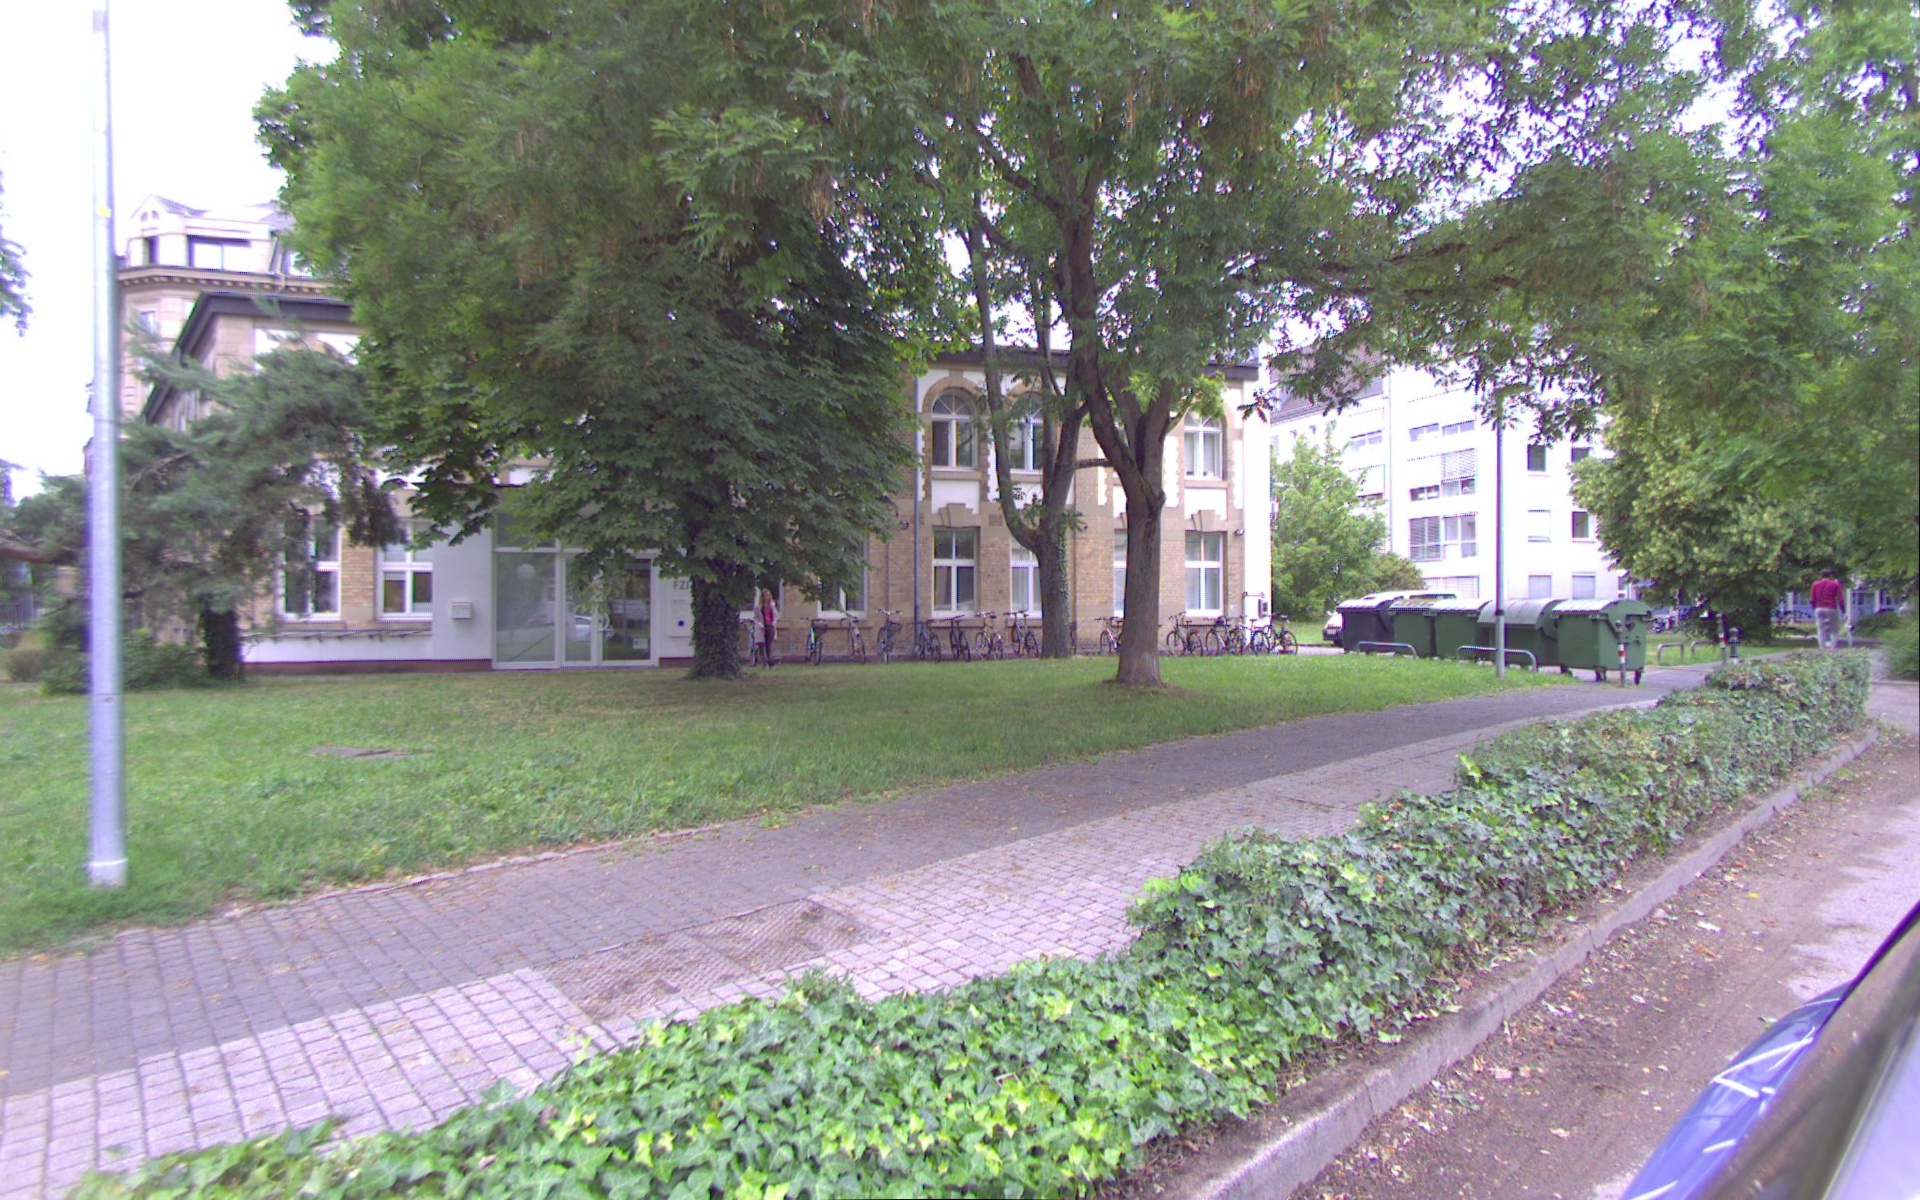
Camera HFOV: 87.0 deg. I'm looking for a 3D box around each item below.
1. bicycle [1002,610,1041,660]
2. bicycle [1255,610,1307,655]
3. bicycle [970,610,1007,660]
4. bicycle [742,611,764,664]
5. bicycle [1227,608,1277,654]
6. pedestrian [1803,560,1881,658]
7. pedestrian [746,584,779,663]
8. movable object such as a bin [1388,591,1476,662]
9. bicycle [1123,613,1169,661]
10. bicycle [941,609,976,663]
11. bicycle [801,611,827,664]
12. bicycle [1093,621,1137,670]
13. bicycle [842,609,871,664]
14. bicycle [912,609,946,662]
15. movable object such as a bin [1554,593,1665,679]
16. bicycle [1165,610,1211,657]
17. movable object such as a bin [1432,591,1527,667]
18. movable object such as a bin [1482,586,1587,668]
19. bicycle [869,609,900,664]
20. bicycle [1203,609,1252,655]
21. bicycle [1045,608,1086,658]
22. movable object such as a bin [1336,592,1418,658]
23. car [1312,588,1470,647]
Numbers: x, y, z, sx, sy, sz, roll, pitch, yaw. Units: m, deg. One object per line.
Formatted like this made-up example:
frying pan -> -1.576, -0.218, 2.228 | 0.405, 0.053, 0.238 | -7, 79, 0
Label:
bicycle -> 1.458, 0.821, 24.315 | 0.451, 1.129, 1.748 | 0, 0, -13
bicycle -> 8.303, 0.822, 26.238 | 0.451, 1.129, 1.748 | 0, 0, -14
bicycle -> 0.666, 0.813, 24.155 | 0.451, 1.129, 1.748 | 0, 0, -13
bicycle -> -4.642, 0.824, 22.647 | 0.451, 1.129, 1.748 | 0, 0, -13
bicycle -> 7.464, 0.778, 25.941 | 0.451, 1.129, 1.748 | 0, 0, -13
pedestrian -> 19.402, 0.196, 22.269 | 1.176, 2.090, 0.796 | 0, -1, -19
pedestrian -> -4.051, 0.474, 20.769 | 0.614, 1.607, 0.605 | 0, -1, -15
movable object such as a bin -> 10.225, 0.555, 21.968 | 1.085, 1.469, 1.329 | 0, -1, -19
bicycle -> 4.596, 0.893, 25.118 | 0.451, 1.129, 1.748 | 0, 0, -13
bicycle -> -0.050, 0.828, 23.733 | 0.451, 1.128, 1.749 | 0, 2, -13
bicycle -> -3.304, 0.818, 22.853 | 0.451, 1.129, 1.748 | 0, 0, -13
bicycle -> 3.807, 1.095, 24.943 | 0.451, 1.129, 1.748 | 0, 0, -13
bicycle -> -2.375, 0.812, 23.186 | 0.451, 1.128, 1.748 | 0, 2, -13
bicycle -> -0.739, 0.812, 23.649 | 0.451, 1.128, 1.748 | 0, 1, -13
movable object such as a bin -> 11.327, 0.603, 17.691 | 1.050, 1.452, 1.276 | 0, 0, -6
bicycle -> 5.717, 0.810, 25.426 | 0.451, 1.129, 1.747 | 0, 0, -11
movable object such as a bin -> 10.529, 0.565, 20.545 | 1.085, 1.469, 1.297 | 0, -1, -19
movable object such as a bin -> 10.795, 0.488, 19.054 | 1.085, 1.469, 1.289 | 0, -1, -19
bicycle -> -1.753, 0.819, 23.338 | 0.451, 1.128, 1.749 | 0, 3, -13
bicycle -> 6.792, 0.798, 25.778 | 0.451, 1.129, 1.748 | 0, 0, -13
bicycle -> 2.527, 0.776, 24.449 | 0.451, 1.129, 1.748 | 0, 0, -13
movable object such as a bin -> 9.639, 0.560, 23.440 | 1.085, 1.469, 1.365 | 0, -1, -20
car -> 14.681, 0.602, 34.574 | 4.673, 1.898, 1.904 | 0, -3, -13
